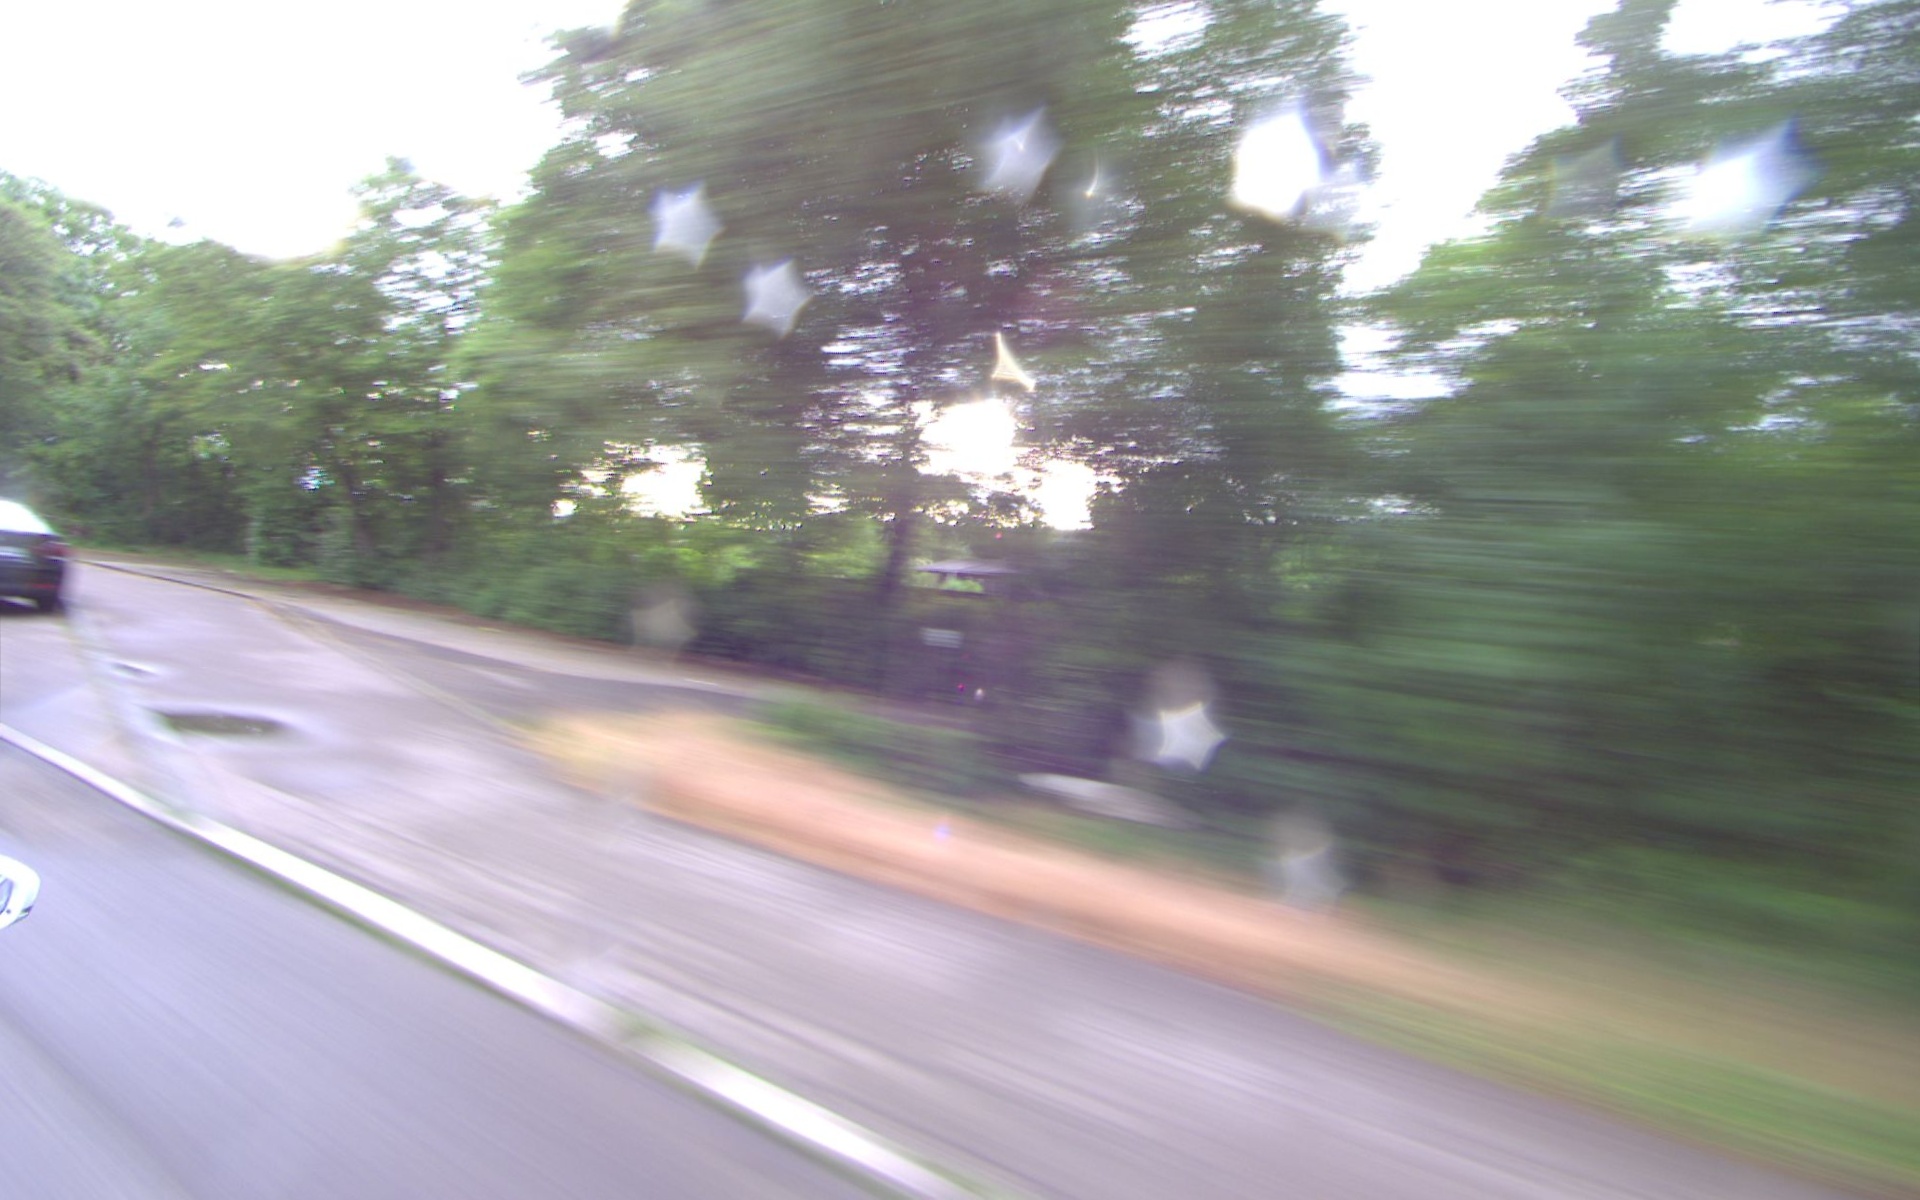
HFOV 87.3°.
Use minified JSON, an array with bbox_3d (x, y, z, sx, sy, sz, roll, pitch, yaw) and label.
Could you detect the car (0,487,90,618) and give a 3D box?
[{"bbox_3d":[-13.253,-0.765,12.941,4.590,1.530,1.806,6,2,32],"label":"car"}]
